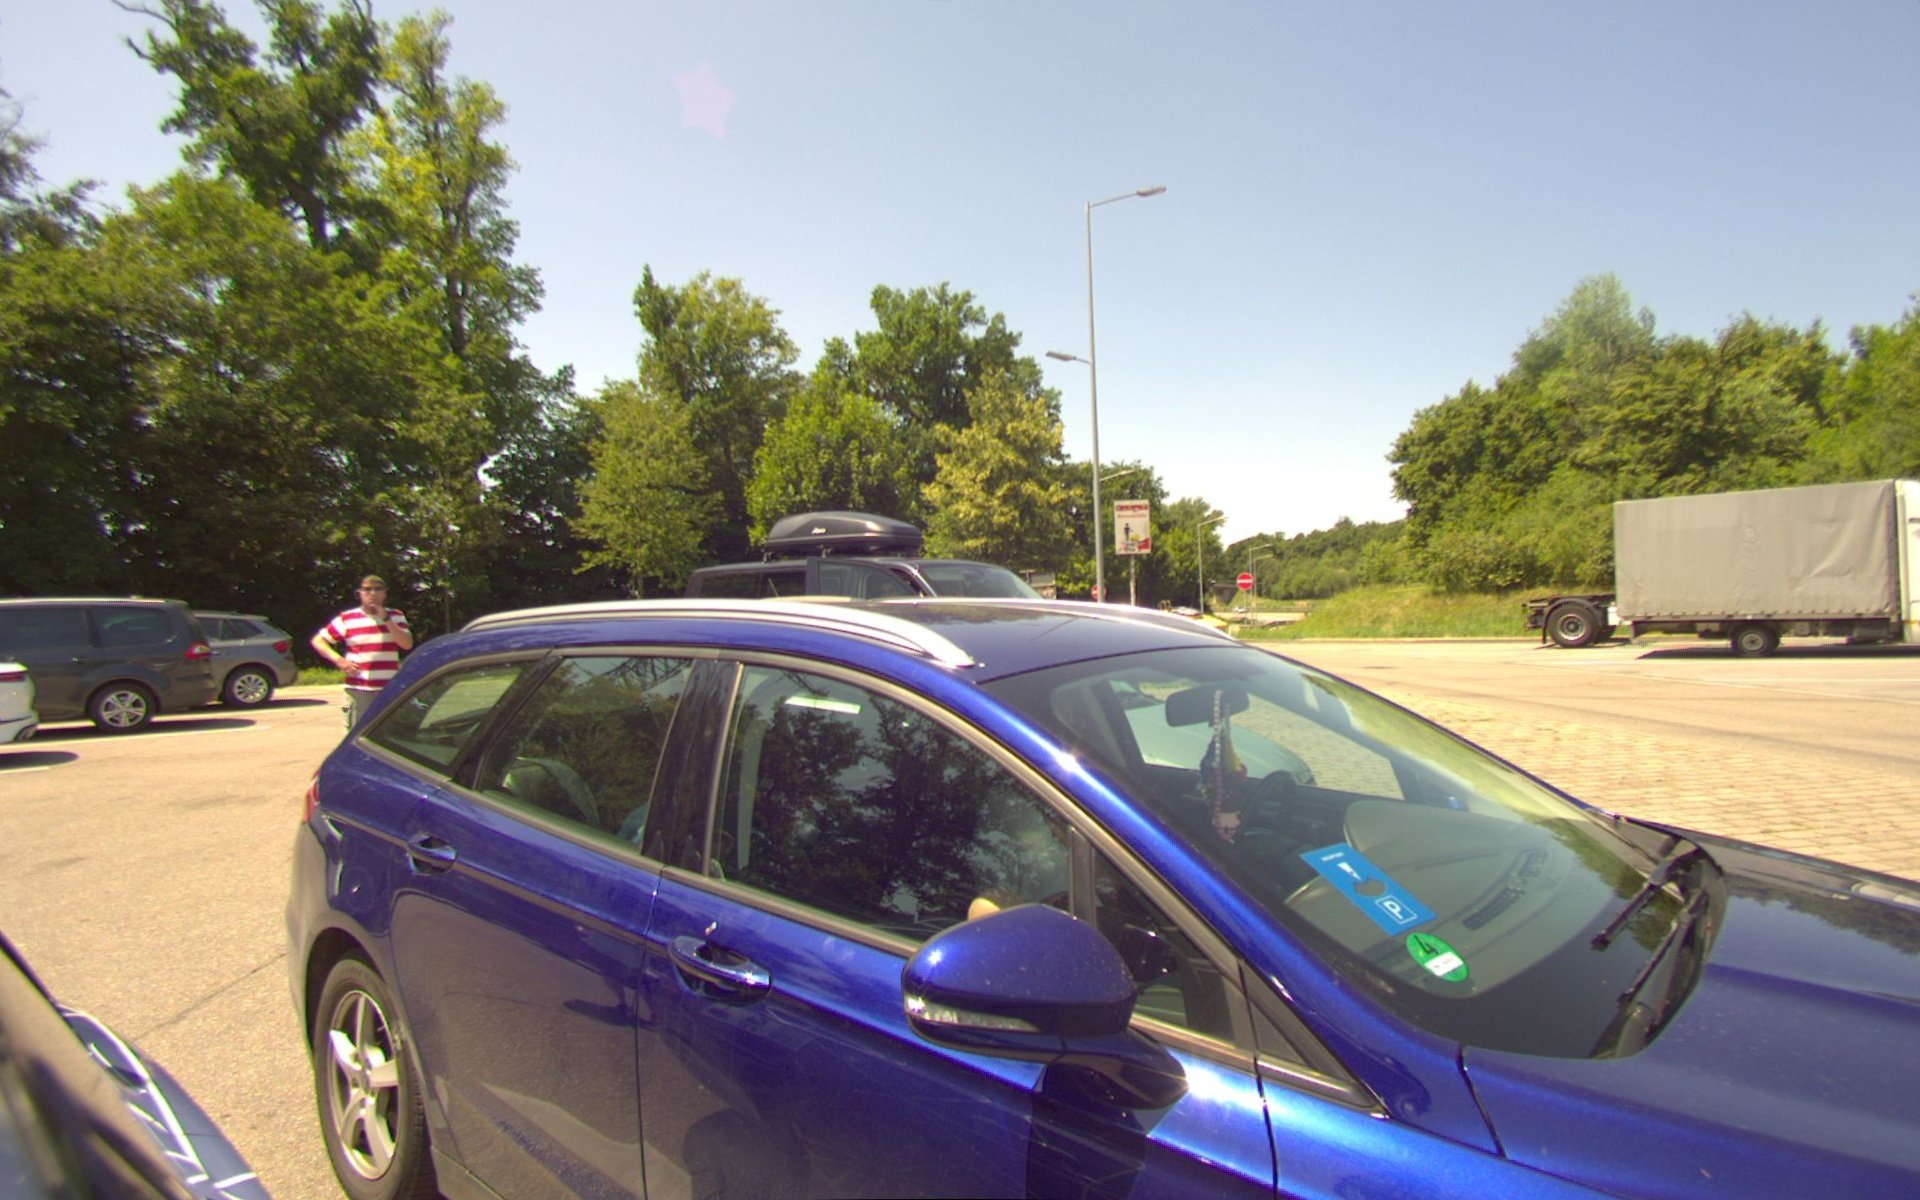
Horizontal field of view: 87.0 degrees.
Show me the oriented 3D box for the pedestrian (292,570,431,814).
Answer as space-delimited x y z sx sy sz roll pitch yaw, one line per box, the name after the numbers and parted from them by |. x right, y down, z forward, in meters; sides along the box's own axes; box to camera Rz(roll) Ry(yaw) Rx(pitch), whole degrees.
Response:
-4.654 0.668 7.871 0.785 1.767 0.744 -1 0 45 | pedestrian

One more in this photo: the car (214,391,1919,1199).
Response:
0.227 0.635 2.065 4.569 1.482 1.735 -3 0 40 | car

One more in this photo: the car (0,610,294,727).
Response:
-12.631 0.973 15.654 3.767 1.572 1.654 -1 0 -38 | car

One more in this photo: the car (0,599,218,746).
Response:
-11.639 0.869 12.647 3.767 1.708 1.654 -1 0 -38 | car

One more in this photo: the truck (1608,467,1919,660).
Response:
16.773 -0.648 19.005 7.274 3.269 2.678 -4 -1 42 | truck

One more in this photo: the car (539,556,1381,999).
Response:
-0.329 0.671 5.602 4.569 1.517 1.735 -3 0 40 | car

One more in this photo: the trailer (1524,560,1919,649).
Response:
17.697 0.157 23.103 8.098 1.638 2.187 -4 -1 41 | trailer

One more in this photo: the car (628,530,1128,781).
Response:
-0.900 0.500 9.650 4.558 1.912 1.740 -3 0 32 | car
